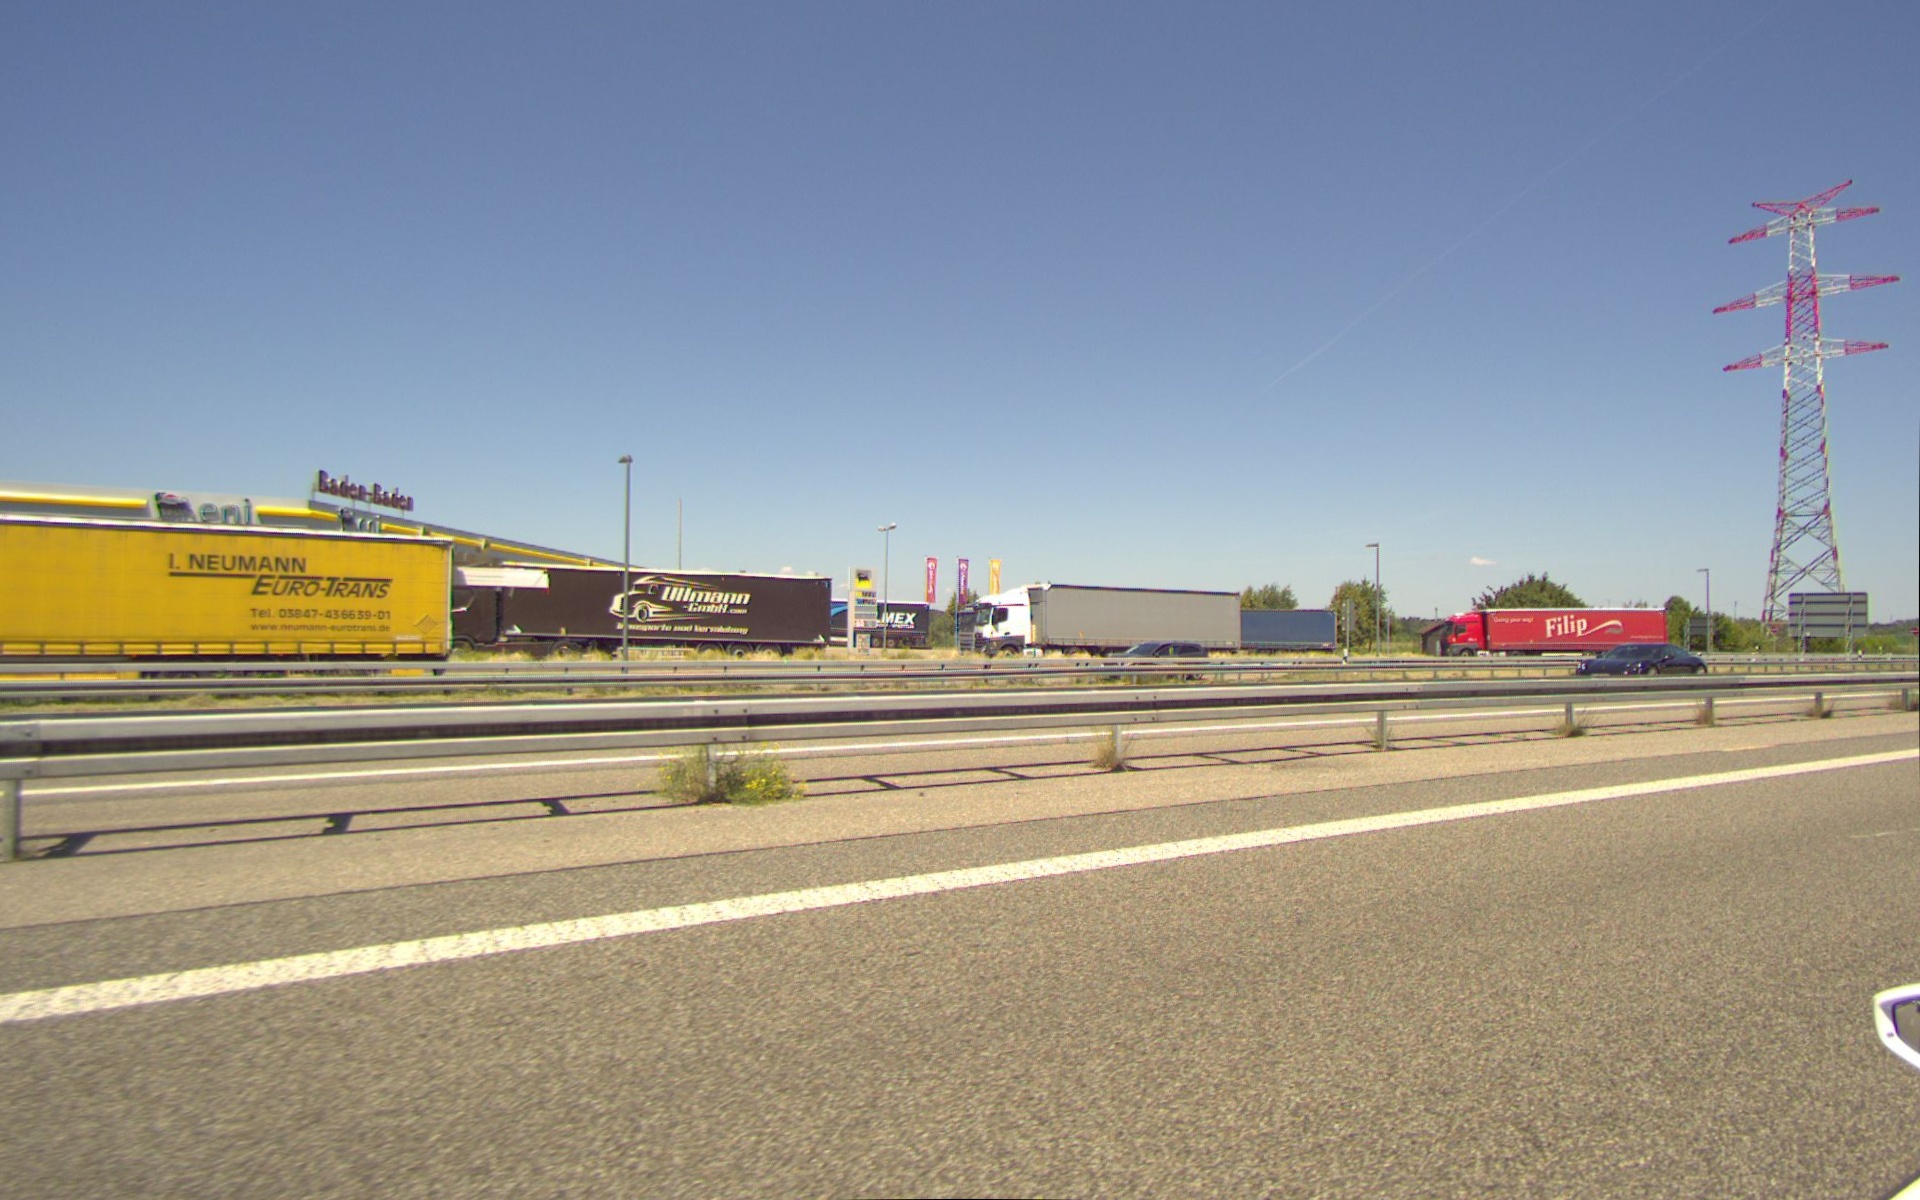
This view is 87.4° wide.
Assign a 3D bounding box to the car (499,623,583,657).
[{"bbox_3d":[-26.695,2.549,64.095,4.728,2.014,1.803,2,0,-31],"label":"car"}]

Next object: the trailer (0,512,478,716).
[{"bbox_3d":[-17.800,0.353,24.111,10.958,4.276,2.818,2,0,-32],"label":"trailer"}]

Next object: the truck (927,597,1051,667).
[{"bbox_3d":[1.966,2.140,66.927,7.532,4.415,3.287,2,0,-29],"label":"truck"}]

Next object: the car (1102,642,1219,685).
[{"bbox_3d":[7.925,2.484,39.592,4.457,1.509,1.803,2,0,-31],"label":"car"}]

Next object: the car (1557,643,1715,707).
[{"bbox_3d":[20.157,2.171,29.909,4.959,1.669,1.962,2,0,-31],"label":"car"}]

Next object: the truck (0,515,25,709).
[{"bbox_3d":[-24.396,0.172,20.068,7.828,4.256,2.818,2,0,-31],"label":"truck"}]

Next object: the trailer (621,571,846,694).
[{"bbox_3d":[-9.768,1.402,43.781,9.022,4.915,3.020,2,0,-29],"label":"trailer"}]

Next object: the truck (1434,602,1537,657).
[{"bbox_3d":[42.218,2.312,80.906,6.511,4.103,3.129,2,0,4],"label":"truck"}]

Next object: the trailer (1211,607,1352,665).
[{"bbox_3d":[26.774,2.893,83.933,10.845,4.323,3.166,2,0,20],"label":"trailer"}]

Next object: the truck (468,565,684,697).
[{"bbox_3d":[-15.483,1.221,40.652,7.781,4.915,3.012,2,0,-29],"label":"truck"}]

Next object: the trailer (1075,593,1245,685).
[{"bbox_3d":[11.560,2.217,57.732,9.562,4.940,3.287,2,0,-28],"label":"trailer"}]

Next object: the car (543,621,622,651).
[{"bbox_3d":[-26.200,2.506,69.767,4.935,2.014,1.803,2,0,-31],"label":"car"}]

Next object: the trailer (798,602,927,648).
[{"bbox_3d":[-8.402,2.175,87.380,10.846,3.568,3.003,2,0,-1],"label":"trailer"}]

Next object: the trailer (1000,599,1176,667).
[{"bbox_3d":[9.149,2.353,70.889,12.762,4.415,3.287,2,0,-29],"label":"trailer"}]

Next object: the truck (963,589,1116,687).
[{"bbox_3d":[4.296,2.014,53.837,7.530,4.915,3.288,2,0,-28],"label":"truck"}]

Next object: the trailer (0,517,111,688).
[{"bbox_3d":[-27.775,-0.058,24.030,10.950,4.204,2.820,2,0,-30],"label":"trailer"}]

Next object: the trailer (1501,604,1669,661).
[{"bbox_3d":[49.841,2.542,80.343,11.086,4.109,3.132,2,0,4],"label":"trailer"}]
